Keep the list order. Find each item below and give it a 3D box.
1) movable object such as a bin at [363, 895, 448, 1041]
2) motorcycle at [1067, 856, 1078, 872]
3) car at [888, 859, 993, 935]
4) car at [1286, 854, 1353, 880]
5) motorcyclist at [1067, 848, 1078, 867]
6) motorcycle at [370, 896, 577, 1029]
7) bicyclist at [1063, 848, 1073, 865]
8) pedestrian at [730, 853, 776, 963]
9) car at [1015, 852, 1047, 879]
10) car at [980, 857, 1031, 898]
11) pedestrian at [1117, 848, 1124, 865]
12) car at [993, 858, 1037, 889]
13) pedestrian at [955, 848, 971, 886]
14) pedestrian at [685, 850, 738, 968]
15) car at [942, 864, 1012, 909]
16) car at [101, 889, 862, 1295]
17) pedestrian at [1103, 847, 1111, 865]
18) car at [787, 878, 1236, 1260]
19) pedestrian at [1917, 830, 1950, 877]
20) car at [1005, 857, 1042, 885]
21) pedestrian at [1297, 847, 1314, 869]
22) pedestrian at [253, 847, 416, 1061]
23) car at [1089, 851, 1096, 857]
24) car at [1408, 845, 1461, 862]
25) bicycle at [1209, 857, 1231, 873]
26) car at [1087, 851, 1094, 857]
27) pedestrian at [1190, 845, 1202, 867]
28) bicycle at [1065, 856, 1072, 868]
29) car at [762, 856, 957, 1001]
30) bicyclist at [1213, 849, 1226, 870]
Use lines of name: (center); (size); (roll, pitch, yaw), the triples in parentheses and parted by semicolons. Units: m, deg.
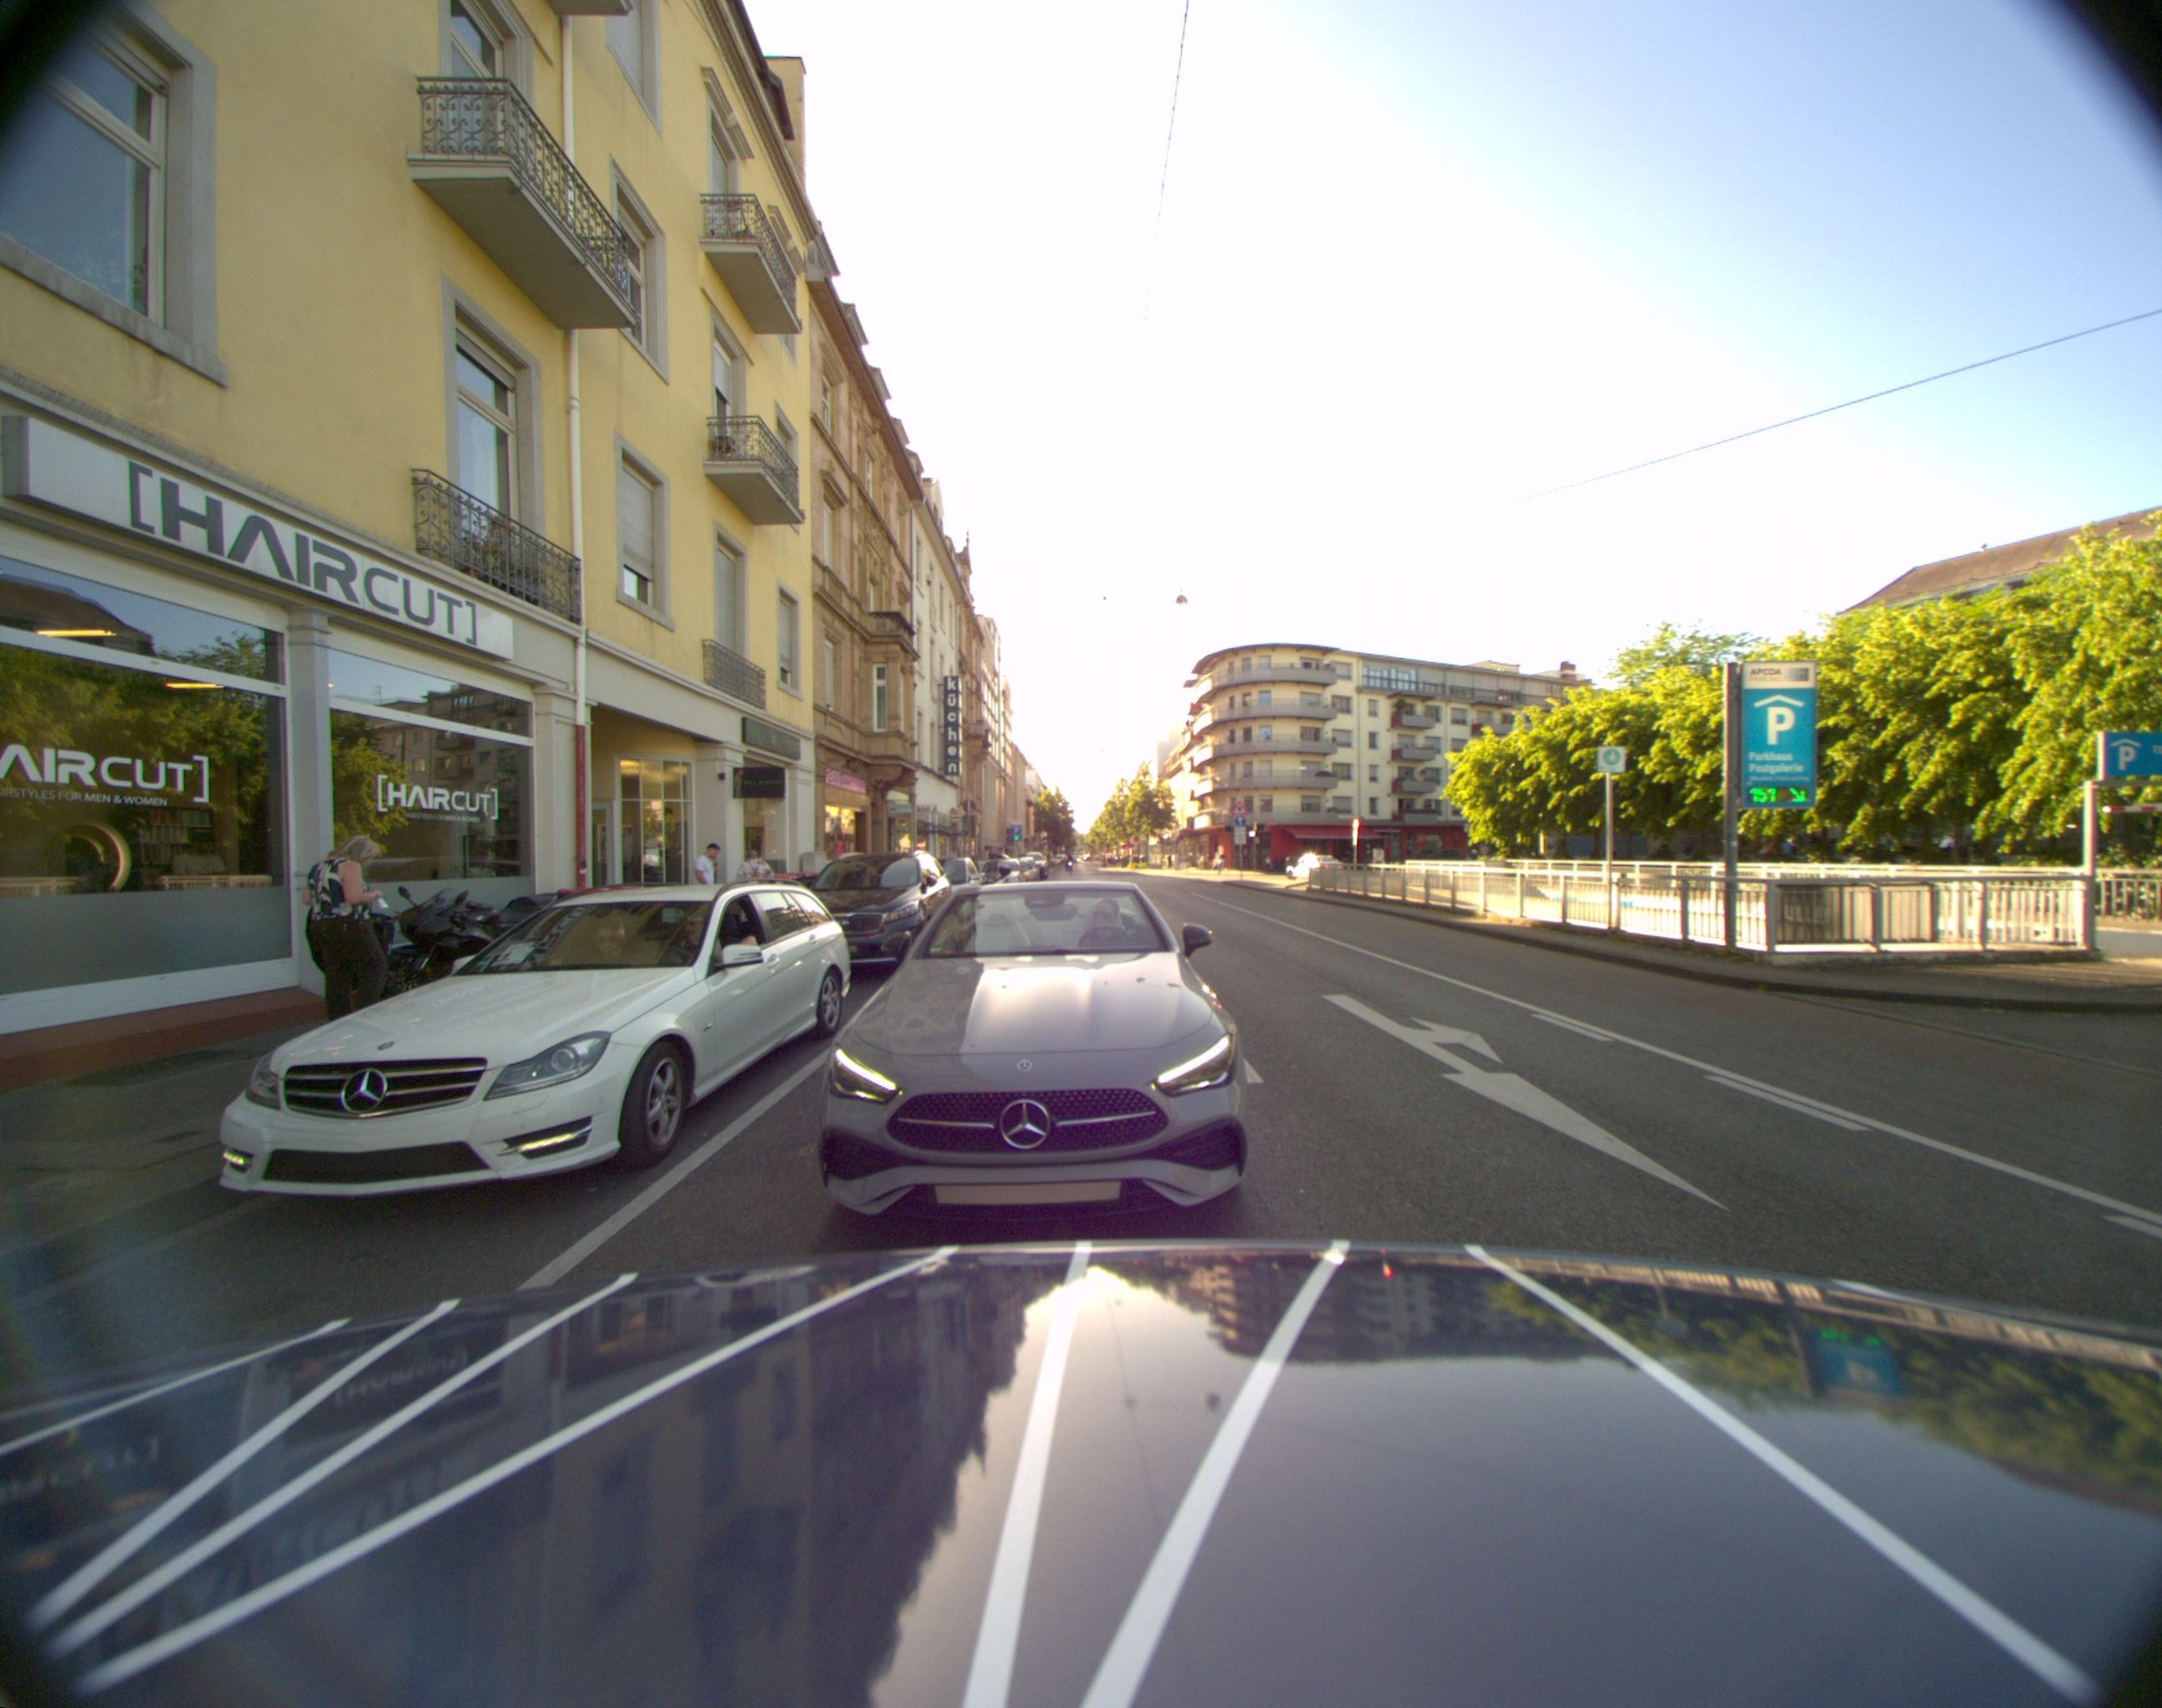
movable object such as a bin: (-5.968, 0.990, 6.725); (0.391, 1.231, 0.394); (1, 1, 1)
motorcycle: (-0.644, 0.736, 58.887); (0.720, 1.177, 1.906); (-2, 1, 2)
car: (-3.292, 0.944, 18.580); (1.802, 1.518, 4.085); (-2, 1, -1)
car: (13.587, 0.713, 43.568); (1.825, 1.346, 4.259); (1, 1, -11)
motorcyclist: (-0.664, 0.290, 58.850); (0.722, 1.438, 0.705); (-2, 1, 1)
motorcycle: (-6.194, 1.045, 7.912); (0.567, 1.072, 1.954); (2, 1, 1)
bicyclist: (-1.262, 0.258, 74.278); (0.885, 1.625, 0.768); (-2, 1, -1)
pedestrian: (-5.703, 0.910, 13.193); (0.576, 1.840, 0.663); (-3, 1, -30)
car: (-3.068, 0.697, 47.667); (1.725, 1.506, 4.004); (-2, 1, -1)
car: (-2.991, 0.908, 30.721); (1.660, 1.423, 4.085); (-2, 1, -1)
pedestrian: (4.791, 0.261, 92.090); (0.792, 2.002, 0.889); (-2, 1, 1)
car: (-3.141, 0.910, 36.828); (1.802, 1.332, 3.838); (-2, 1, -1)
pedestrian: (-5.832, 0.644, 37.633); (0.574, 1.840, 0.665); (-2, 1, 1)
pedestrian: (-6.352, 0.916, 13.074); (0.373, 1.971, 0.695); (0, 1, 23)
car: (-3.399, 1.031, 25.560); (1.802, 1.259, 4.085); (-2, 1, -1)
car: (-3.063, 1.072, 5.274); (1.704, 1.351, 4.378); (-2, 1, 1)
pedestrian: (2.994, 0.226, 88.403); (0.860, 2.002, 0.889); (-2, 1, 1)
car: (-0.268, 0.956, 5.138); (1.802, 1.351, 3.999); (-2, 1, 0)
pedestrian: (32.161, -0.026, 28.679); (0.647, 1.711, 0.607); (-3, 1, -19)
car: (-3.071, 0.877, 41.299); (1.725, 1.332, 3.668); (-2, 1, -1)
pedestrian: (16.934, 0.294, 57.309); (0.863, 1.586, 0.887); (-3, 1, -38)
pedestrian: (-6.031, 0.774, 6.174); (0.719, 1.644, 0.606); (1, 1, 1)
car: (2.737, -0.059, 186.140); (1.615, 1.534, 3.931); (-1, 0, 1)
car: (29.053, -0.056, 62.431); (4.004, 1.294, 1.753); (-2, 1, -23)
bicycle: (10.454, 0.805, 57.144); (1.590, 1.163, 0.528); (-2, 1, 15)
car: (2.274, -0.059, 185.647); (1.615, 1.534, 3.931); (-1, 0, 1)
pedestrian: (10.304, 0.177, 68.085); (0.860, 2.002, 0.889); (-2, 1, 0)
bicycle: (-1.258, 0.769, 74.333); (0.641, 1.078, 2.061); (-1, 0, -1)
car: (-3.023, 0.909, 11.329); (1.803, 1.629, 4.243); (-2, 1, -3)
bicyclist: (10.420, 0.390, 57.141); (0.797, 1.539, 0.525); (-2, 1, 16)
